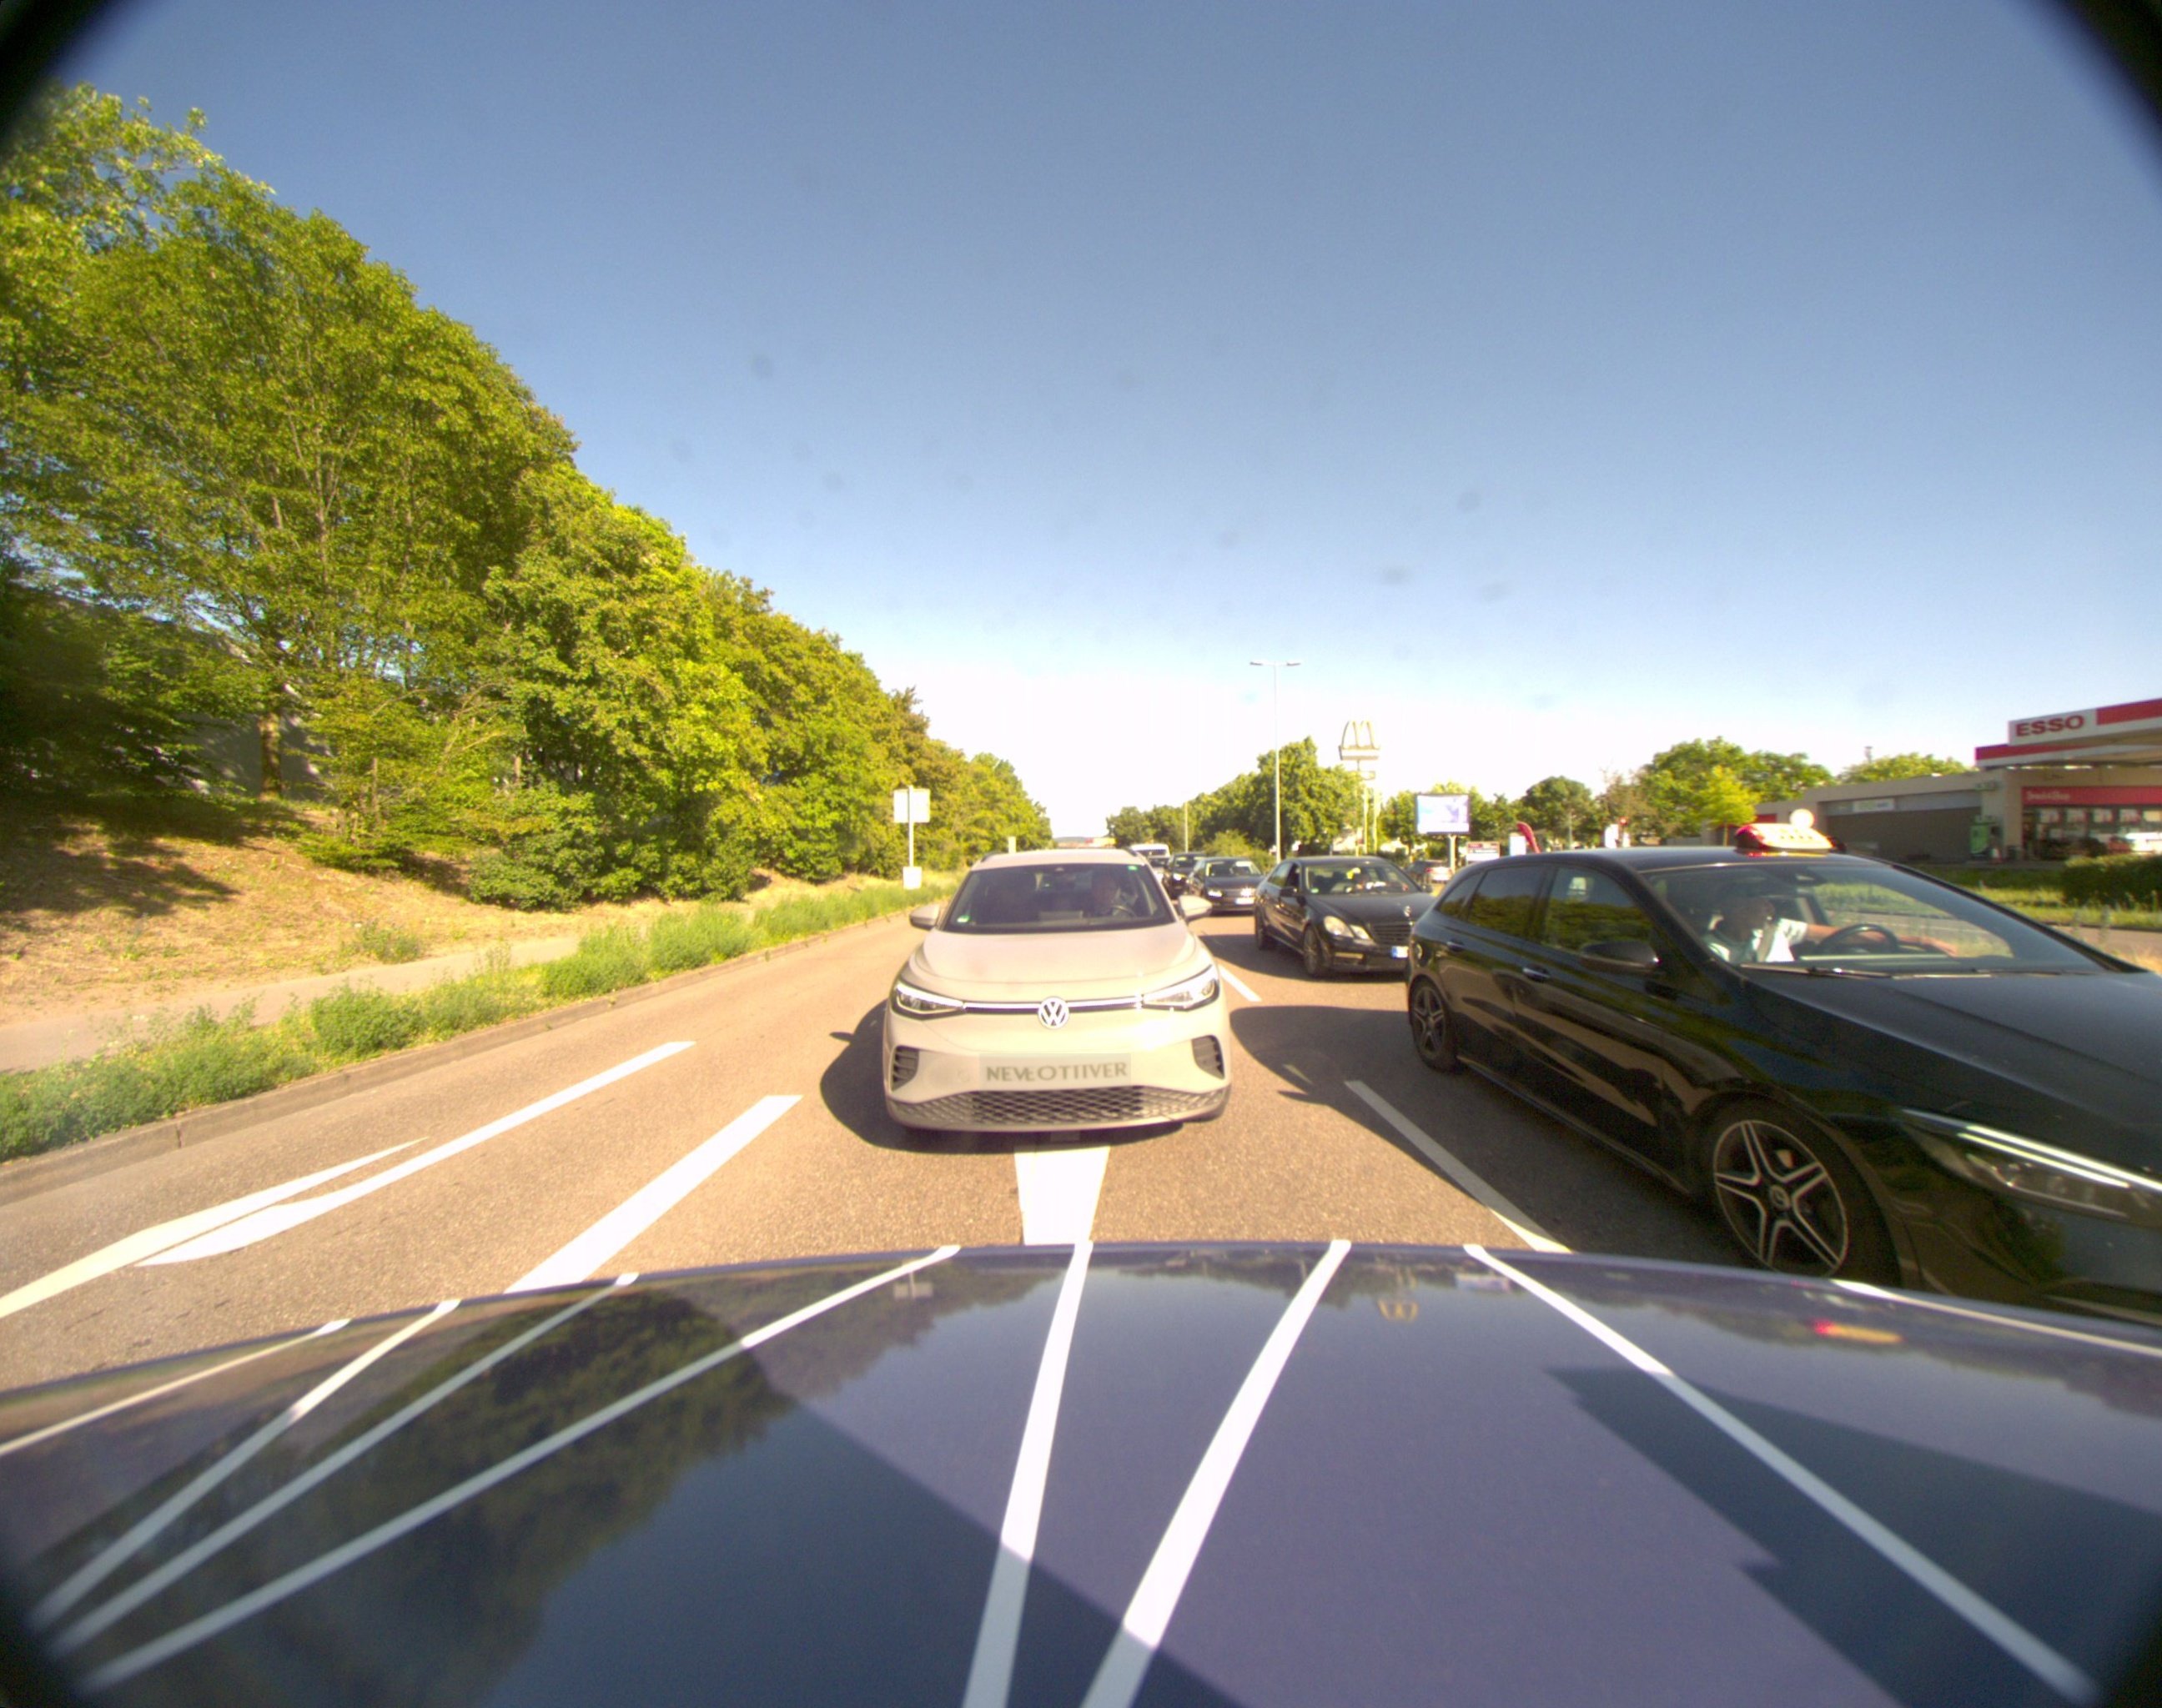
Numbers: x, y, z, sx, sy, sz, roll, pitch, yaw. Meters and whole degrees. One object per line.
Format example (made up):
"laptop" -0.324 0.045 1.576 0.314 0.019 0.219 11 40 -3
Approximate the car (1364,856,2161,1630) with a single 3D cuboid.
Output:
"car" 3.091 0.818 3.665 1.763 1.482 4.402 -2 1 0

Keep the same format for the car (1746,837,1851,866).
"car" 37.399 -0.138 39.733 1.682 1.401 3.978 1 1 0

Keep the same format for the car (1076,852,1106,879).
"car" 0.599 0.683 47.550 1.763 1.482 4.402 -2 1 0

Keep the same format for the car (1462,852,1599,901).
"car" 15.875 0.737 27.187 1.764 1.482 4.878 2 1 -3

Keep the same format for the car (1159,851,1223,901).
"car" 3.903 0.746 27.487 1.674 1.607 3.879 -2 0 0

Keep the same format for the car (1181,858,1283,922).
"car" 3.872 0.859 20.228 1.797 1.419 4.287 -2 0 0

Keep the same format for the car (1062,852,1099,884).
"car" -0.045 0.711 39.867 1.763 1.482 4.402 -2 1 0

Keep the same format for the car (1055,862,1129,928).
"car" 0.264 1.038 20.939 1.763 1.482 4.402 -2 1 0

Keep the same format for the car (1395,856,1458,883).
"car" 19.558 0.843 43.211 1.763 1.401 3.978 1 1 0

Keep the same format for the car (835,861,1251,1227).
"car" -0.181 0.899 5.714 1.862 1.573 4.403 -2 0 0

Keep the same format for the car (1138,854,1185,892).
"car" 3.572 0.789 34.177 1.635 1.547 3.777 -2 0 0

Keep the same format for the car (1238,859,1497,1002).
"car" 3.589 0.850 10.512 1.868 1.430 4.402 -2 1 0

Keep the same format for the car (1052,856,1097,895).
"car" -0.259 0.880 33.045 1.763 1.482 4.402 -2 1 0

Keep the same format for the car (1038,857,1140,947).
"car" 0.135 0.871 15.771 1.763 1.482 4.402 -2 1 0

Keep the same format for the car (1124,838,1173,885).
"car" 3.650 0.382 42.281 2.019 2.349 6.523 -2 0 0

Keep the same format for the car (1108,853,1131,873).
"car" 3.419 0.766 67.565 1.763 1.607 4.402 -2 1 0
